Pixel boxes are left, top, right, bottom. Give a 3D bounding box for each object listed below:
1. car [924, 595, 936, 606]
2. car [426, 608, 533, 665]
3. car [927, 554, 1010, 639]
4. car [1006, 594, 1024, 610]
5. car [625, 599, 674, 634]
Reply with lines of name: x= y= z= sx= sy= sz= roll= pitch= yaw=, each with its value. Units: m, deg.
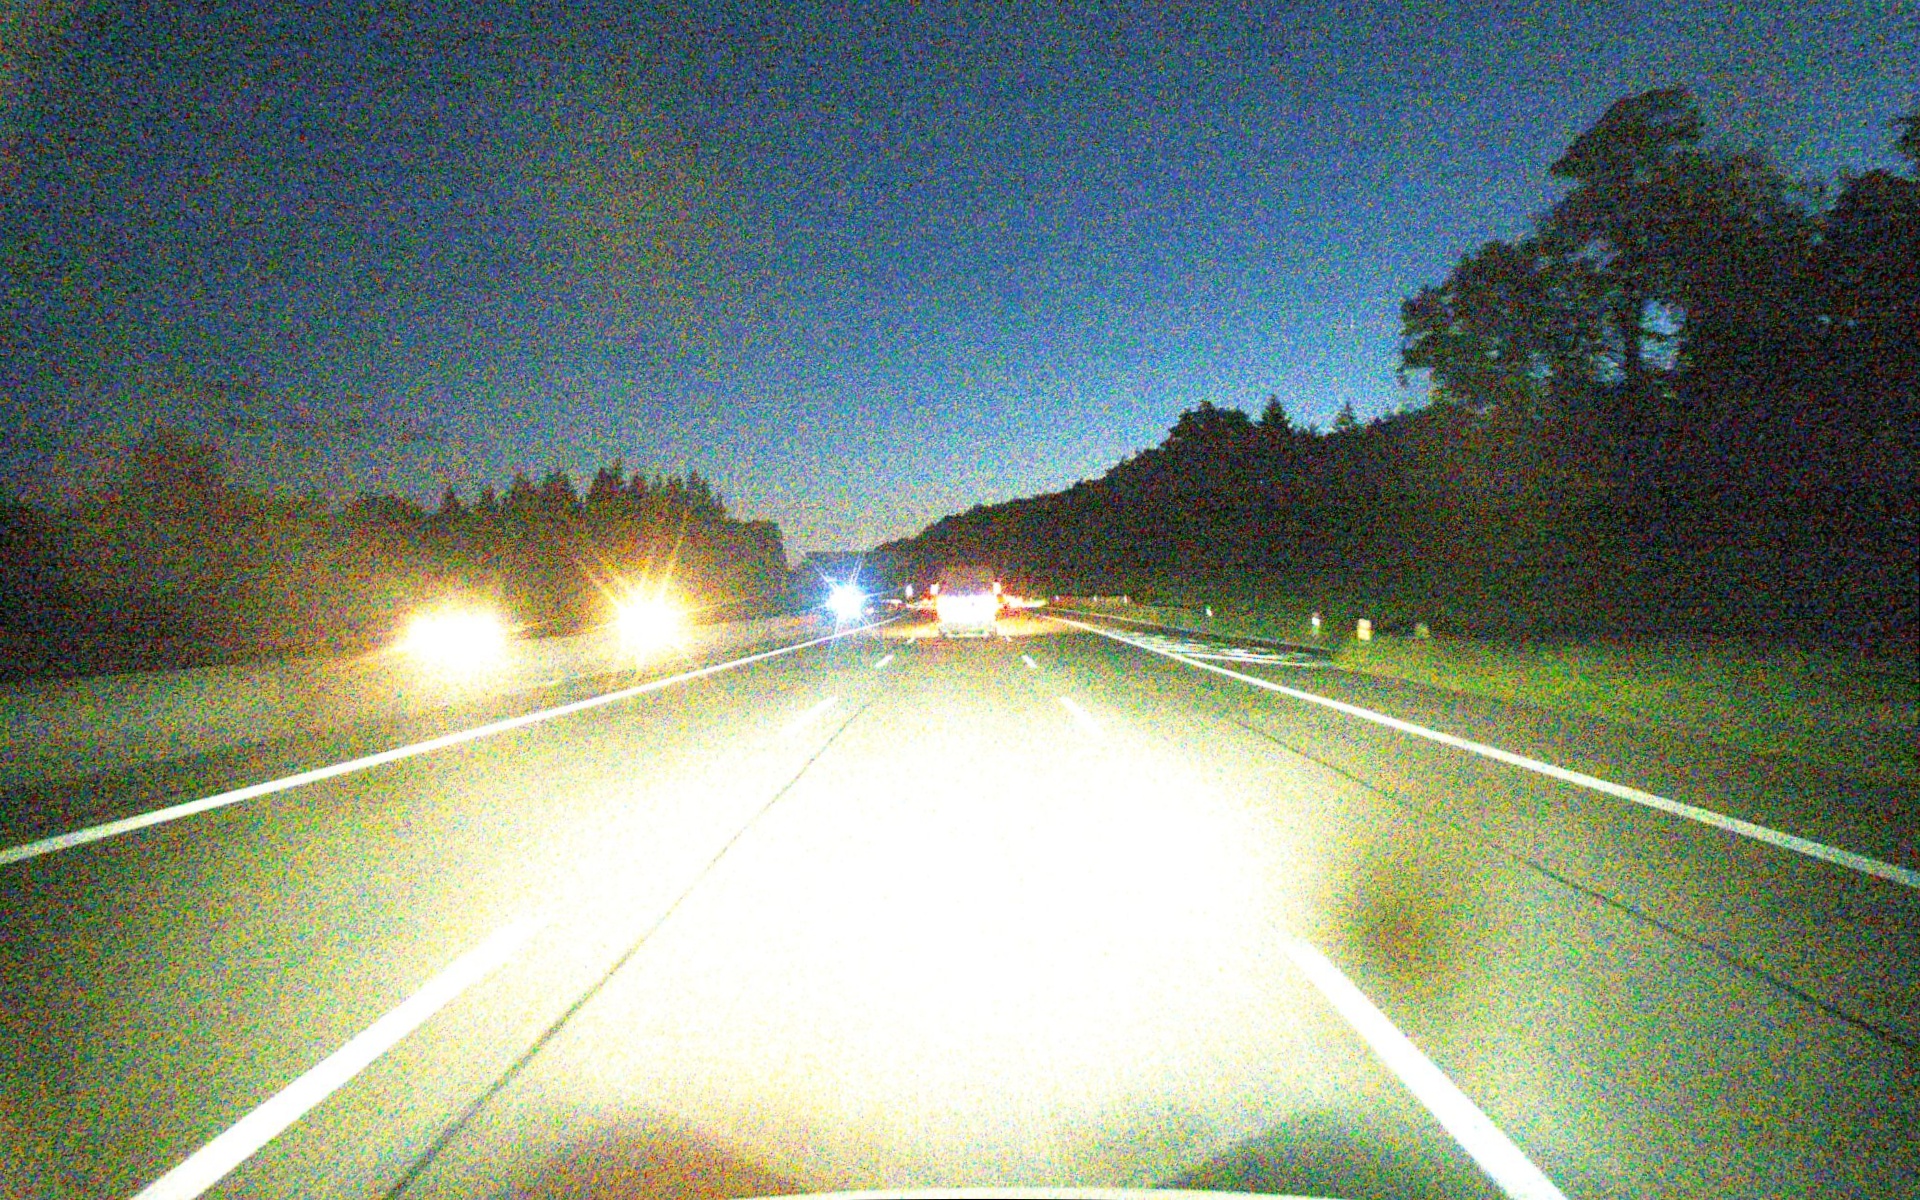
car: x=-4.603 y=0.021 z=253.804 sx=1.806 sy=1.668 sz=4.000 roll=0 pitch=0 yaw=-1
car: x=-14.959 y=1.104 z=51.769 sx=1.893 sy=1.632 sz=4.953 roll=-1 pitch=0 yaw=-1
car: x=0.257 y=-0.115 z=57.494 sx=2.729 sy=2.781 sz=6.298 roll=0 pitch=0 yaw=0
car: x=5.925 y=0.236 z=179.235 sx=1.806 sy=1.668 sz=4.000 roll=0 pitch=0 yaw=-1
car: x=-18.727 y=0.968 z=100.018 sx=1.987 sy=2.003 sz=5.396 roll=-1 pitch=0 yaw=-1
